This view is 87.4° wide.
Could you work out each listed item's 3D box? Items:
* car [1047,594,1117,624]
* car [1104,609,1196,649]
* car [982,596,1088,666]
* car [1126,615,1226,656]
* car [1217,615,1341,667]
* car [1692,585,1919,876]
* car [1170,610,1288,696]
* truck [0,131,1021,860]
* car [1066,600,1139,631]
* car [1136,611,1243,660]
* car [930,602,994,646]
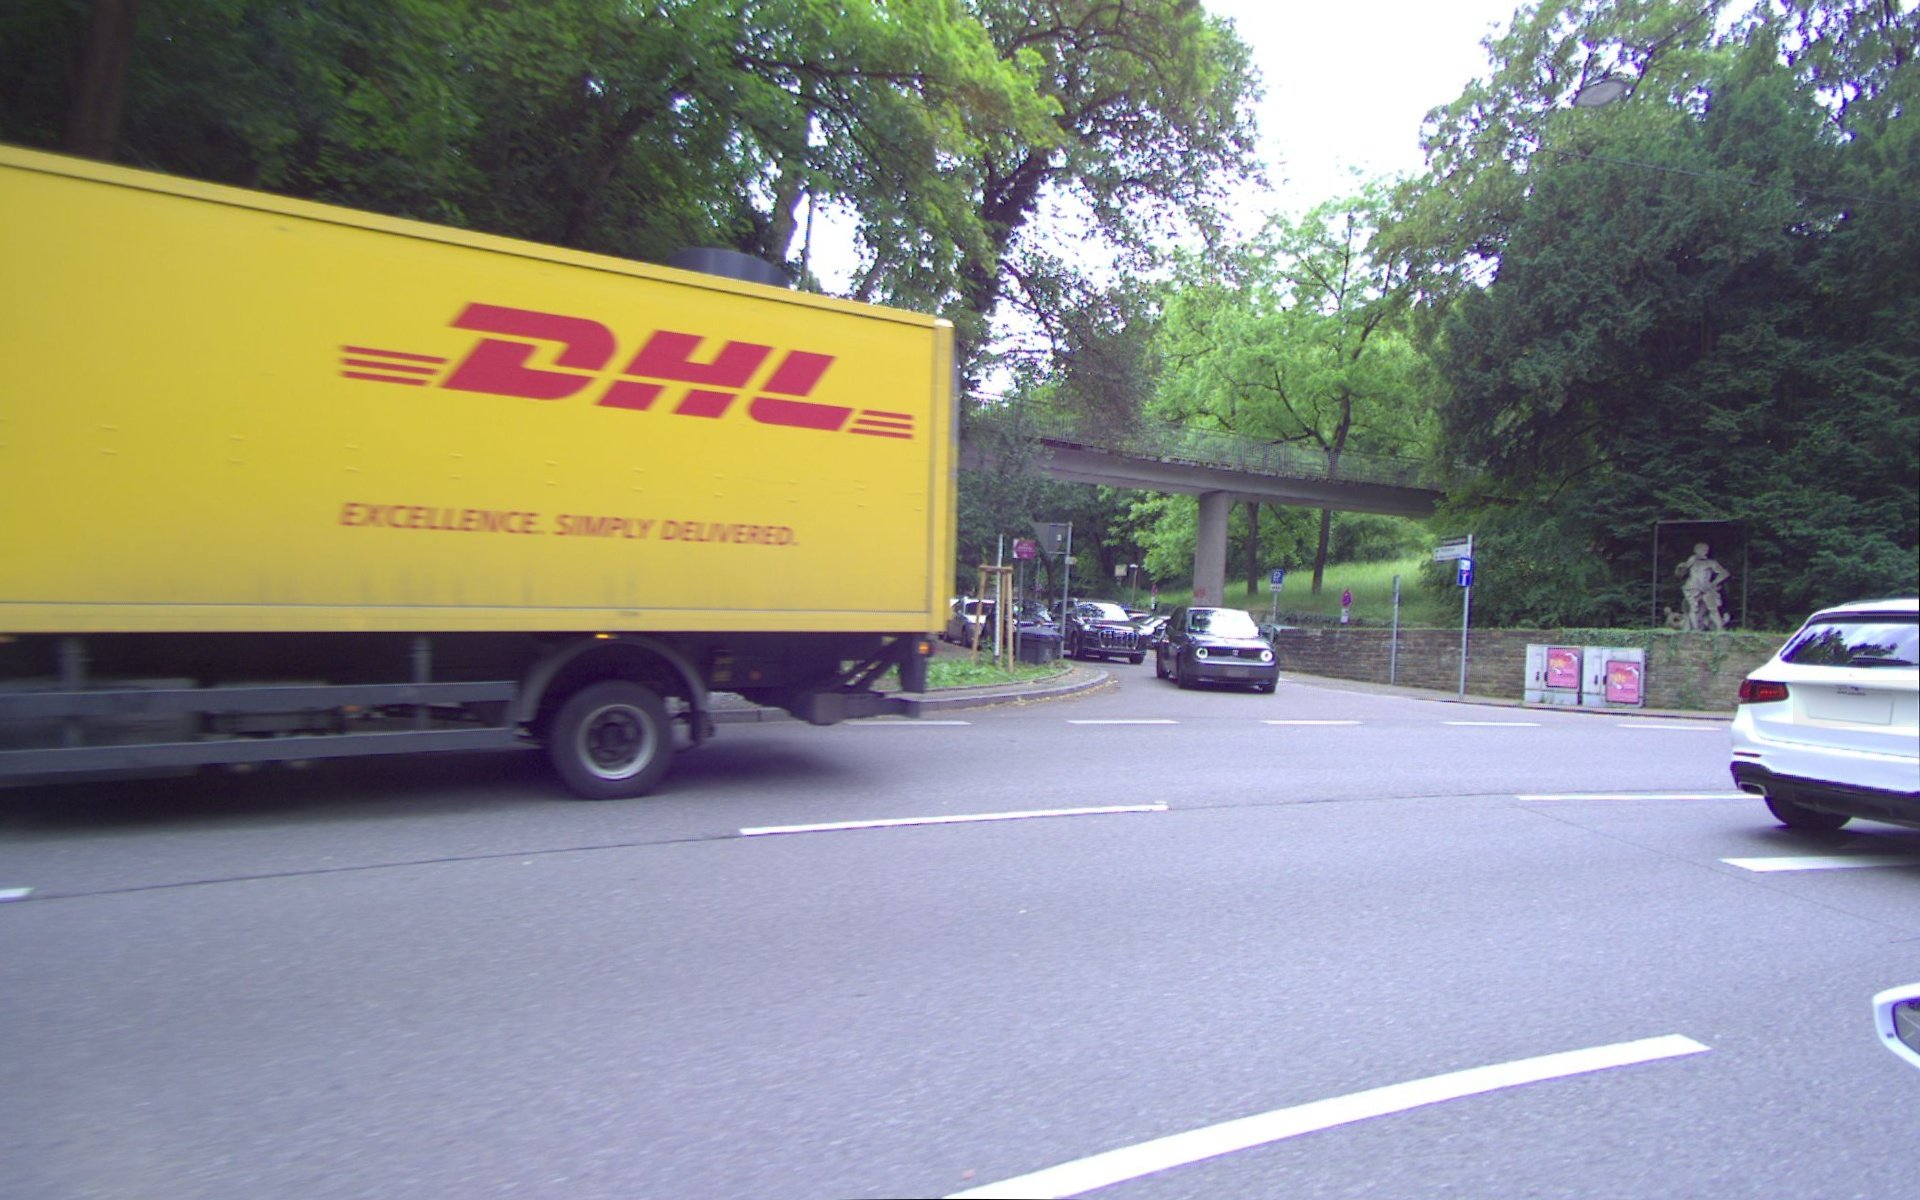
[{"bbox_3d":[7.618,0.574,62.691,3.928,1.613,1.698,4,-1,-9],"label":"car"},{"bbox_3d":[9.330,1.406,49.456,3.929,1.539,1.822,6,0,-9],"label":"car"},{"bbox_3d":[1.968,0.775,27.825,1.776,1.707,4.534,3,0,-10],"label":"car"},{"bbox_3d":[9.658,1.578,44.998,3.928,1.539,1.822,4,0,-9],"label":"car"},{"bbox_3d":[11.499,1.479,36.188,3.940,1.572,1.768,4,-1,-20],"label":"car"},{"bbox_3d":[7.540,0.770,6.618,4.591,1.627,1.859,1,1,-14],"label":"car"},{"bbox_3d":[4.952,0.948,18.965,1.718,1.376,4.003,2,-1,9],"label":"car"},{"bbox_3d":[-3.512,-0.420,6.708,7.492,3.344,2.737,2,0,-30],"label":"truck"},{"bbox_3d":[8.582,0.936,60.667,3.928,1.539,1.823,5,-1,-9],"label":"car"},{"bbox_3d":[9.651,1.474,42.357,3.930,1.607,1.772,6,0,-10],"label":"car"},{"bbox_3d":[0.026,0.833,36.645,1.600,1.346,4.017,5,0,-9],"label":"car"}]
